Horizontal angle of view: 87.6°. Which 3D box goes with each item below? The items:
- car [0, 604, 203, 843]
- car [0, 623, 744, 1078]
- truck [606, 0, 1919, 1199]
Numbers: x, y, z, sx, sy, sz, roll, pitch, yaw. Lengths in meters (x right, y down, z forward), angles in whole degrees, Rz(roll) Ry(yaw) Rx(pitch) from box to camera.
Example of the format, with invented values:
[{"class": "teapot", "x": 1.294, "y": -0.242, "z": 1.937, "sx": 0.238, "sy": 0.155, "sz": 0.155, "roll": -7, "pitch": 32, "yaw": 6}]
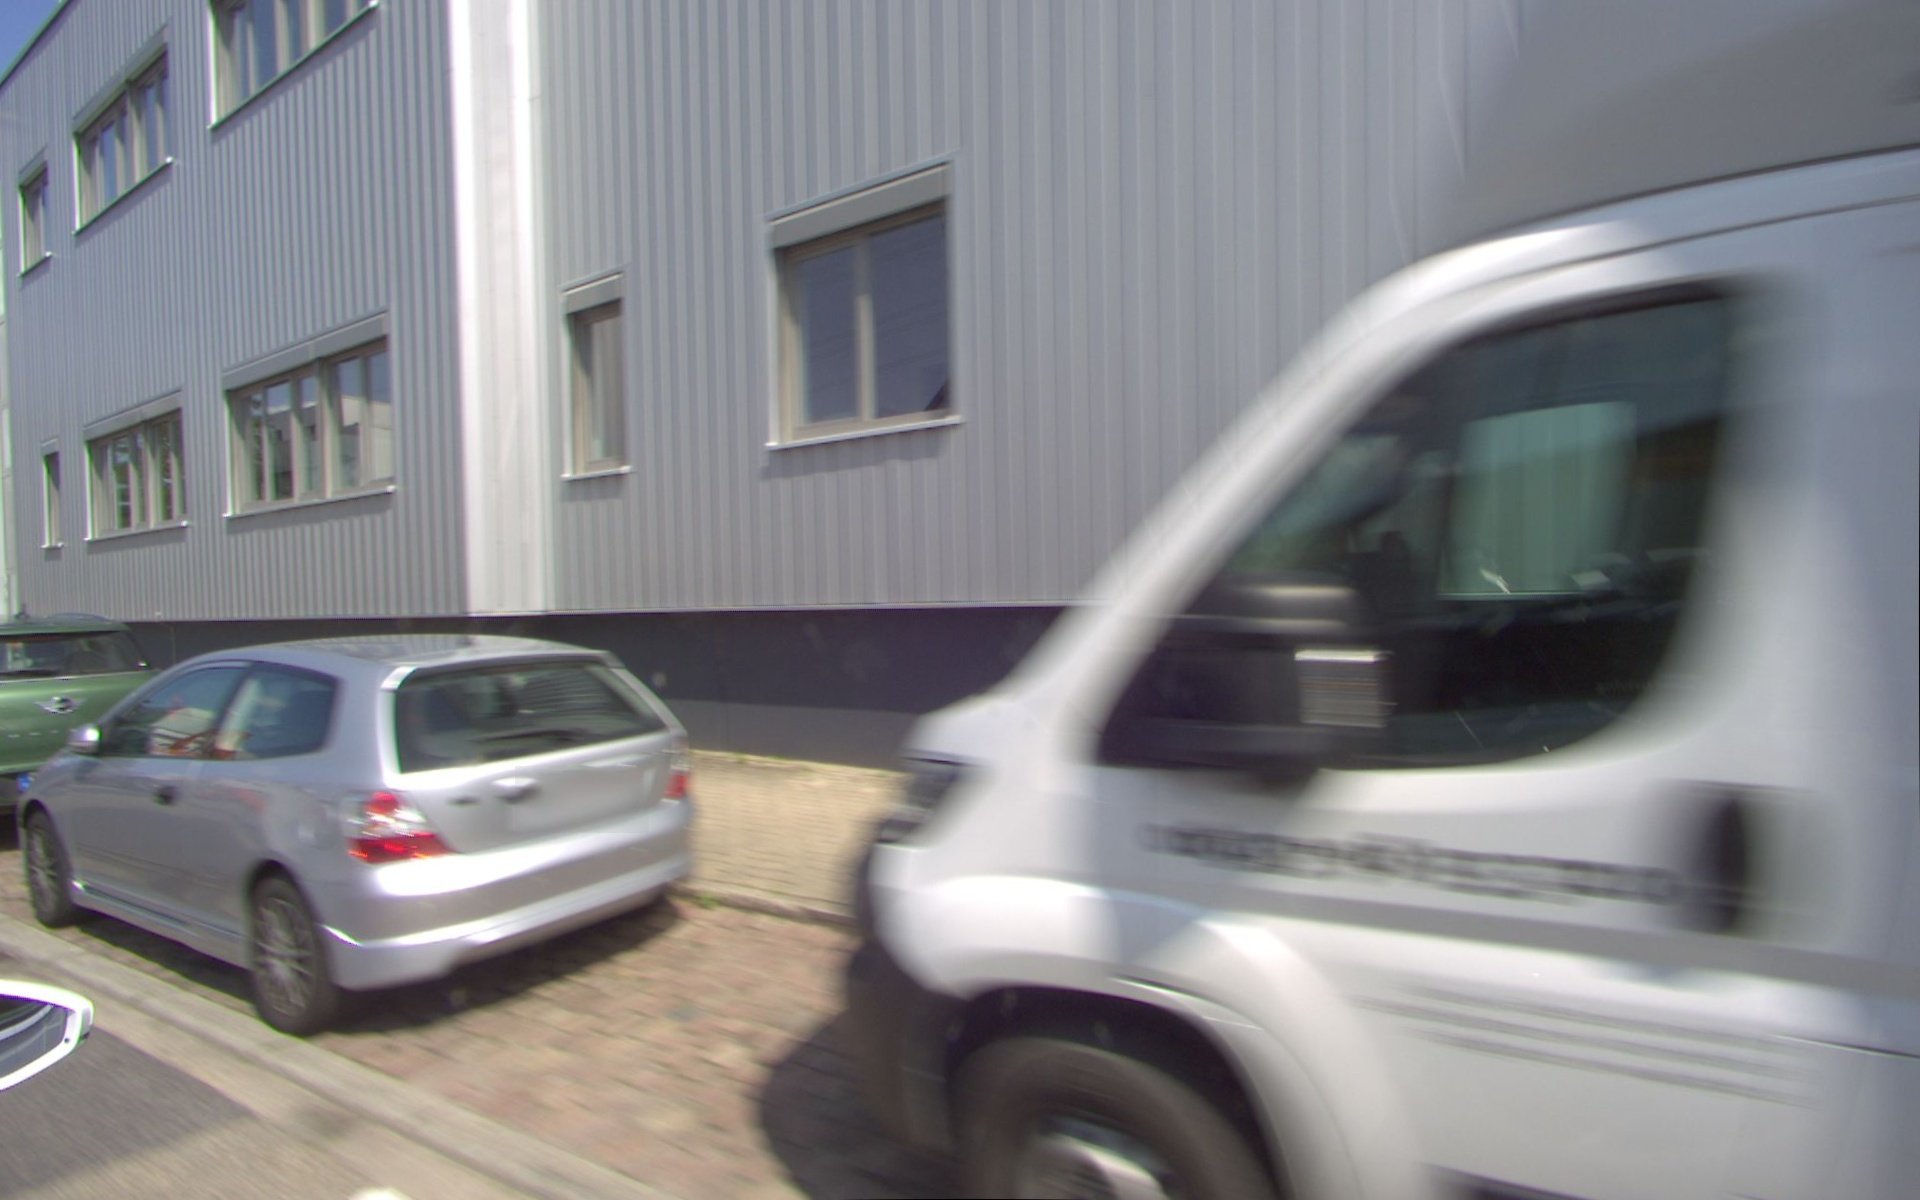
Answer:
[{"class": "car", "x": -7.724, "y": 0.842, "z": 7.715, "sx": 4.056, "sy": 1.530, "sz": 1.707, "roll": -1, "pitch": -2, "yaw": 32}, {"class": "car", "x": -3.222, "y": 0.871, "z": 5.064, "sx": 4.196, "sy": 1.452, "sz": 1.707, "roll": -1, "pitch": -2, "yaw": 32}, {"class": "truck", "x": 3.306, "y": -0.140, "z": 1.200, "sx": 7.960, "sy": 3.267, "sz": 2.597, "roll": -1, "pitch": -2, "yaw": 31}]
